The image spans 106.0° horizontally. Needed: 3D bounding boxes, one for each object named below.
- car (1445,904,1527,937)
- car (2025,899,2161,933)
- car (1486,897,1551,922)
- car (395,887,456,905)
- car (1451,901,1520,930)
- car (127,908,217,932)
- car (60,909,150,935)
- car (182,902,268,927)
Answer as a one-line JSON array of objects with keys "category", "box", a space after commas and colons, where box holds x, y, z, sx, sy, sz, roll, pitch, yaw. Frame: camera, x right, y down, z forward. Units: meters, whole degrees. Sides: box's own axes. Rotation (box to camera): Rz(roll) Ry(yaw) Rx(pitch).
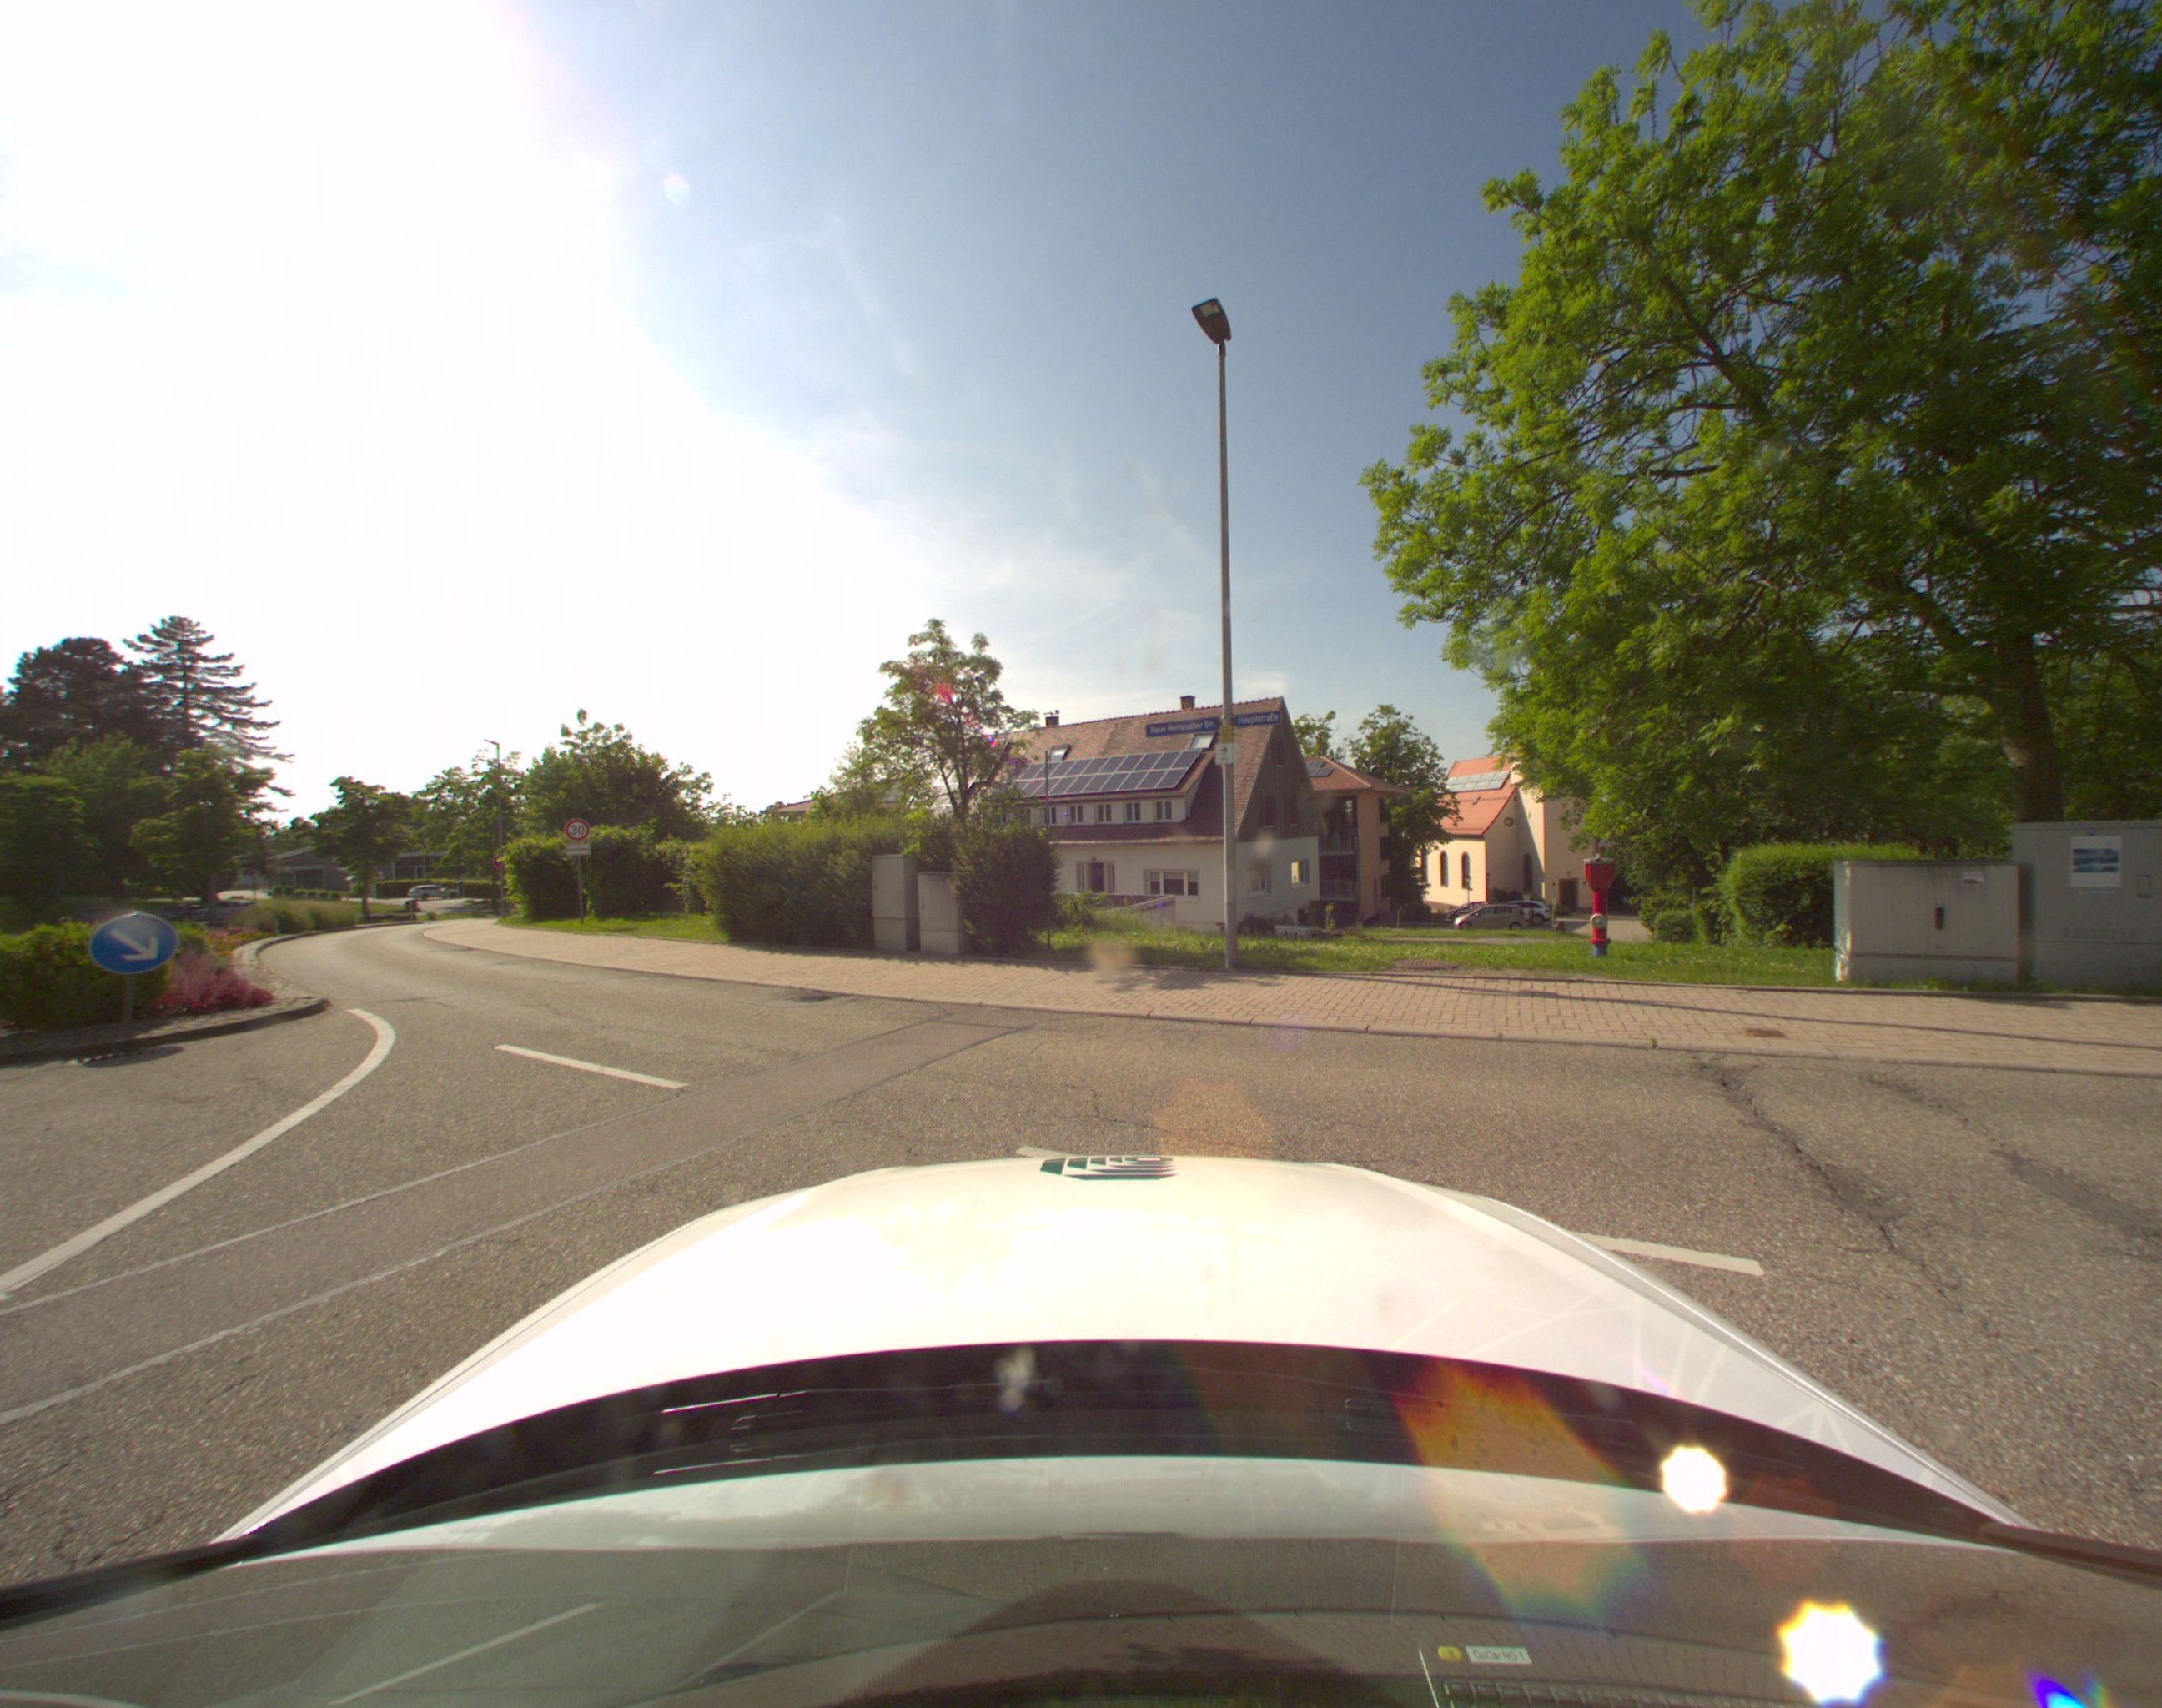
[{"category": "car", "box": [23.022, 3.775, 46.444, 4.053, 1.758, 1.723, -2, -3, 24]}, {"category": "car", "box": [46.631, 2.861, 37.577, 3.736, 1.444, 1.724, -4, -3, 41]}, {"category": "car", "box": [29.604, 3.731, 55.203, 3.739, 1.594, 1.723, -2, -3, 23]}, {"category": "car", "box": [-71.875, 4.607, 89.343, 1.975, 1.534, 4.759, 2, 2, 26]}, {"category": "car", "box": [25.590, 3.912, 51.645, 3.739, 1.758, 1.723, -2, -3, 23]}, {"category": "car", "box": [-60.758, 4.415, 54.509, 3.697, 1.434, 1.772, -1, -2, -7]}, {"category": "car", "box": [-61.171, 4.229, 51.090, 3.196, 1.470, 1.771, -1, -2, -8]}, {"category": "car", "box": [-61.441, 4.340, 58.519, 3.925, 1.609, 1.771, -1, -2, -7]}]
